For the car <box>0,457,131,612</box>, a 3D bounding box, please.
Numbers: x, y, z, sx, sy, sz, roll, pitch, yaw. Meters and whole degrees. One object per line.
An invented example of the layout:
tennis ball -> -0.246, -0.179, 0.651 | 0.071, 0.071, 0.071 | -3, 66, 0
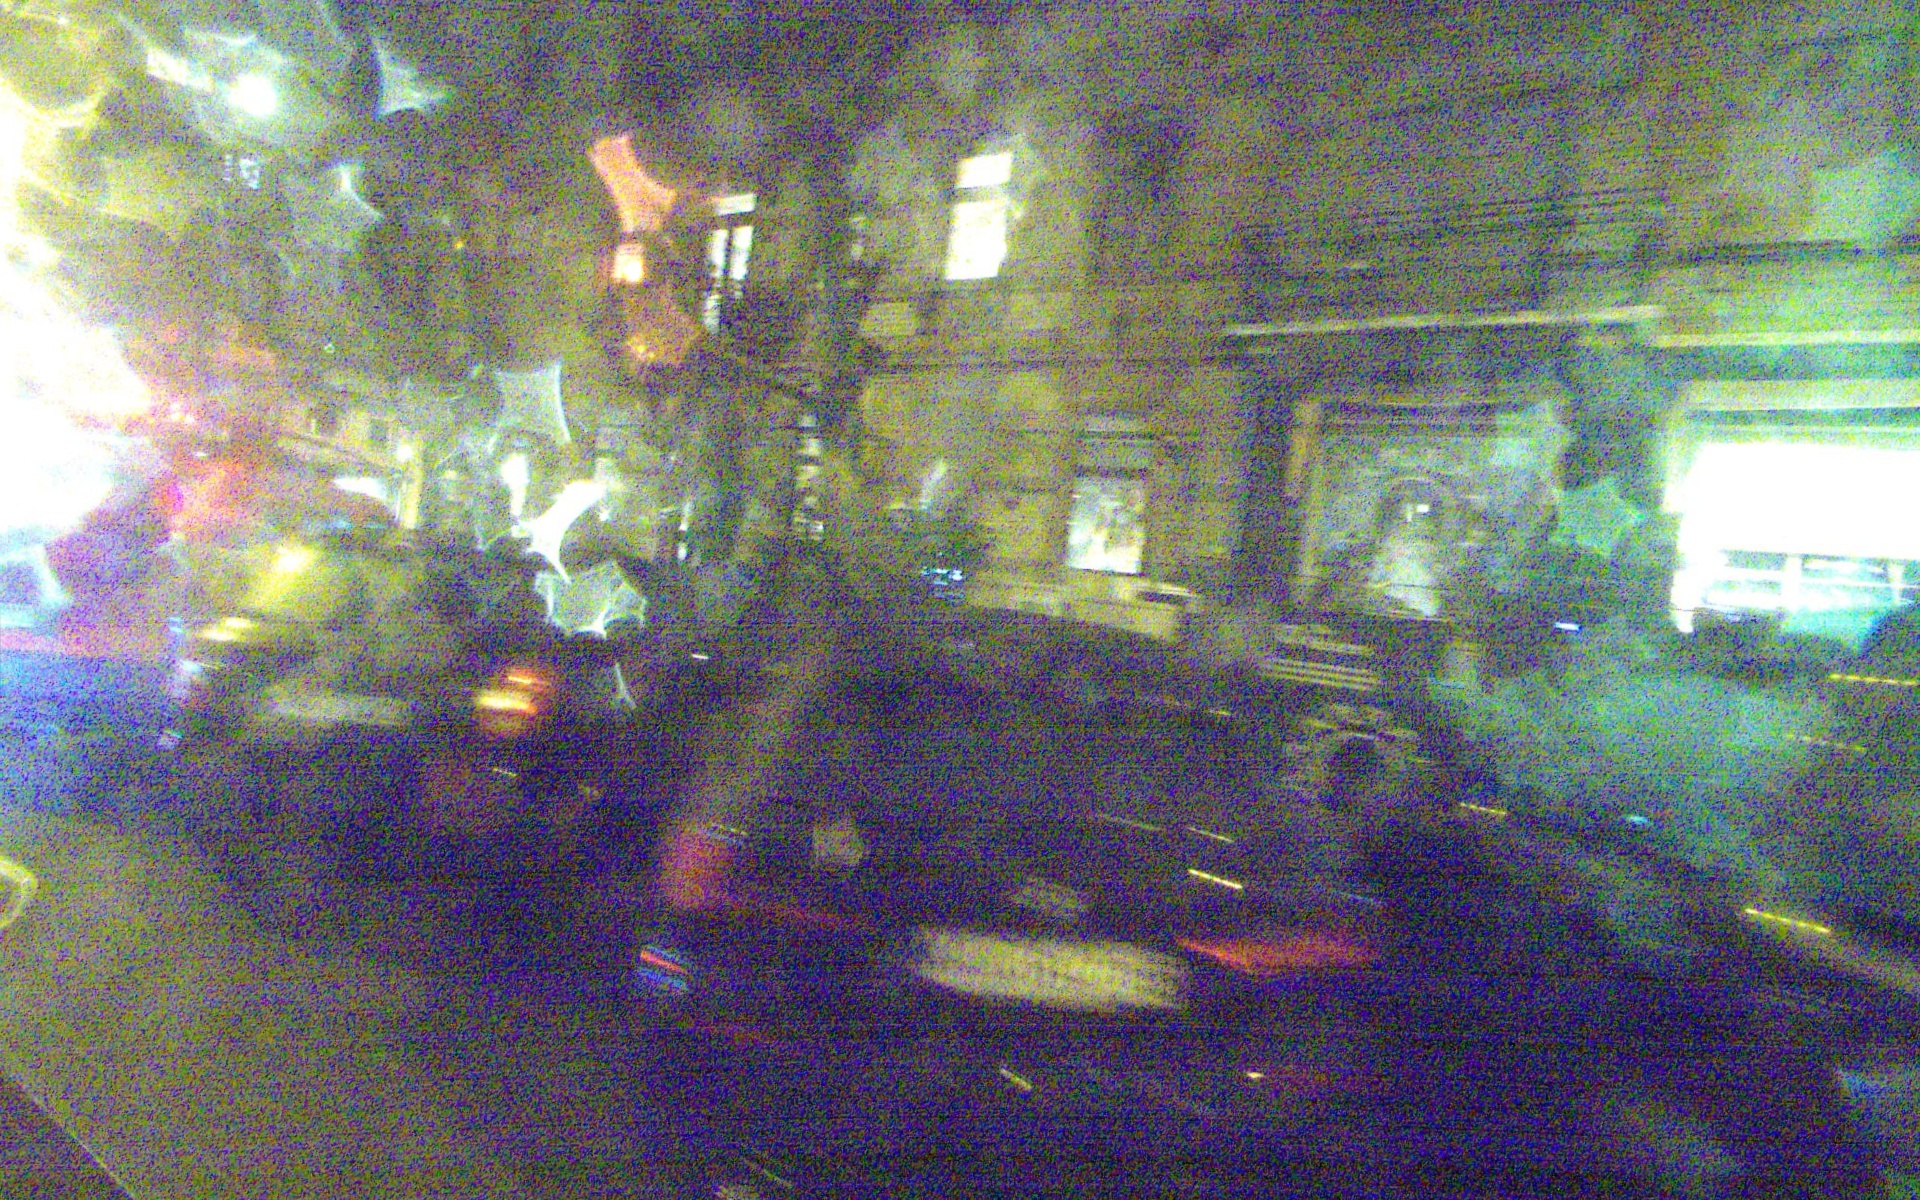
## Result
car -> -11.571, -0.813, 11.117 | 1.739, 1.735, 3.735 | 6, 2, -3

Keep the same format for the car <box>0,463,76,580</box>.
car -> -13.994, -1.144, 12.671 | 1.738, 1.594, 4.261 | 6, 1, 3

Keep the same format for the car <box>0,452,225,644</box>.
car -> -9.597, -0.582, 10.073 | 1.717, 1.735, 3.789 | 6, 2, -3

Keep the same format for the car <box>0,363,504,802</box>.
car -> -4.750, -0.165, 6.751 | 1.690, 2.055, 3.735 | 6, 2, -3

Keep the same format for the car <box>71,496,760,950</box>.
car -> -2.331, 0.410, 5.461 | 1.628, 1.472, 3.702 | 6, 1, 0

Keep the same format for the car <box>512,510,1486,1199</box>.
car -> -0.038, 0.670, 3.855 | 1.648, 1.471, 4.054 | 7, 0, -3

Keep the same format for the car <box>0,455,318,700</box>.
car -> -7.279, -0.271, 7.977 | 1.800, 1.619, 4.067 | 6, 1, -3

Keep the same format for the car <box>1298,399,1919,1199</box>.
car -> 2.576, 0.669, 2.416 | 1.712, 1.968, 3.928 | 6, 2, -5
